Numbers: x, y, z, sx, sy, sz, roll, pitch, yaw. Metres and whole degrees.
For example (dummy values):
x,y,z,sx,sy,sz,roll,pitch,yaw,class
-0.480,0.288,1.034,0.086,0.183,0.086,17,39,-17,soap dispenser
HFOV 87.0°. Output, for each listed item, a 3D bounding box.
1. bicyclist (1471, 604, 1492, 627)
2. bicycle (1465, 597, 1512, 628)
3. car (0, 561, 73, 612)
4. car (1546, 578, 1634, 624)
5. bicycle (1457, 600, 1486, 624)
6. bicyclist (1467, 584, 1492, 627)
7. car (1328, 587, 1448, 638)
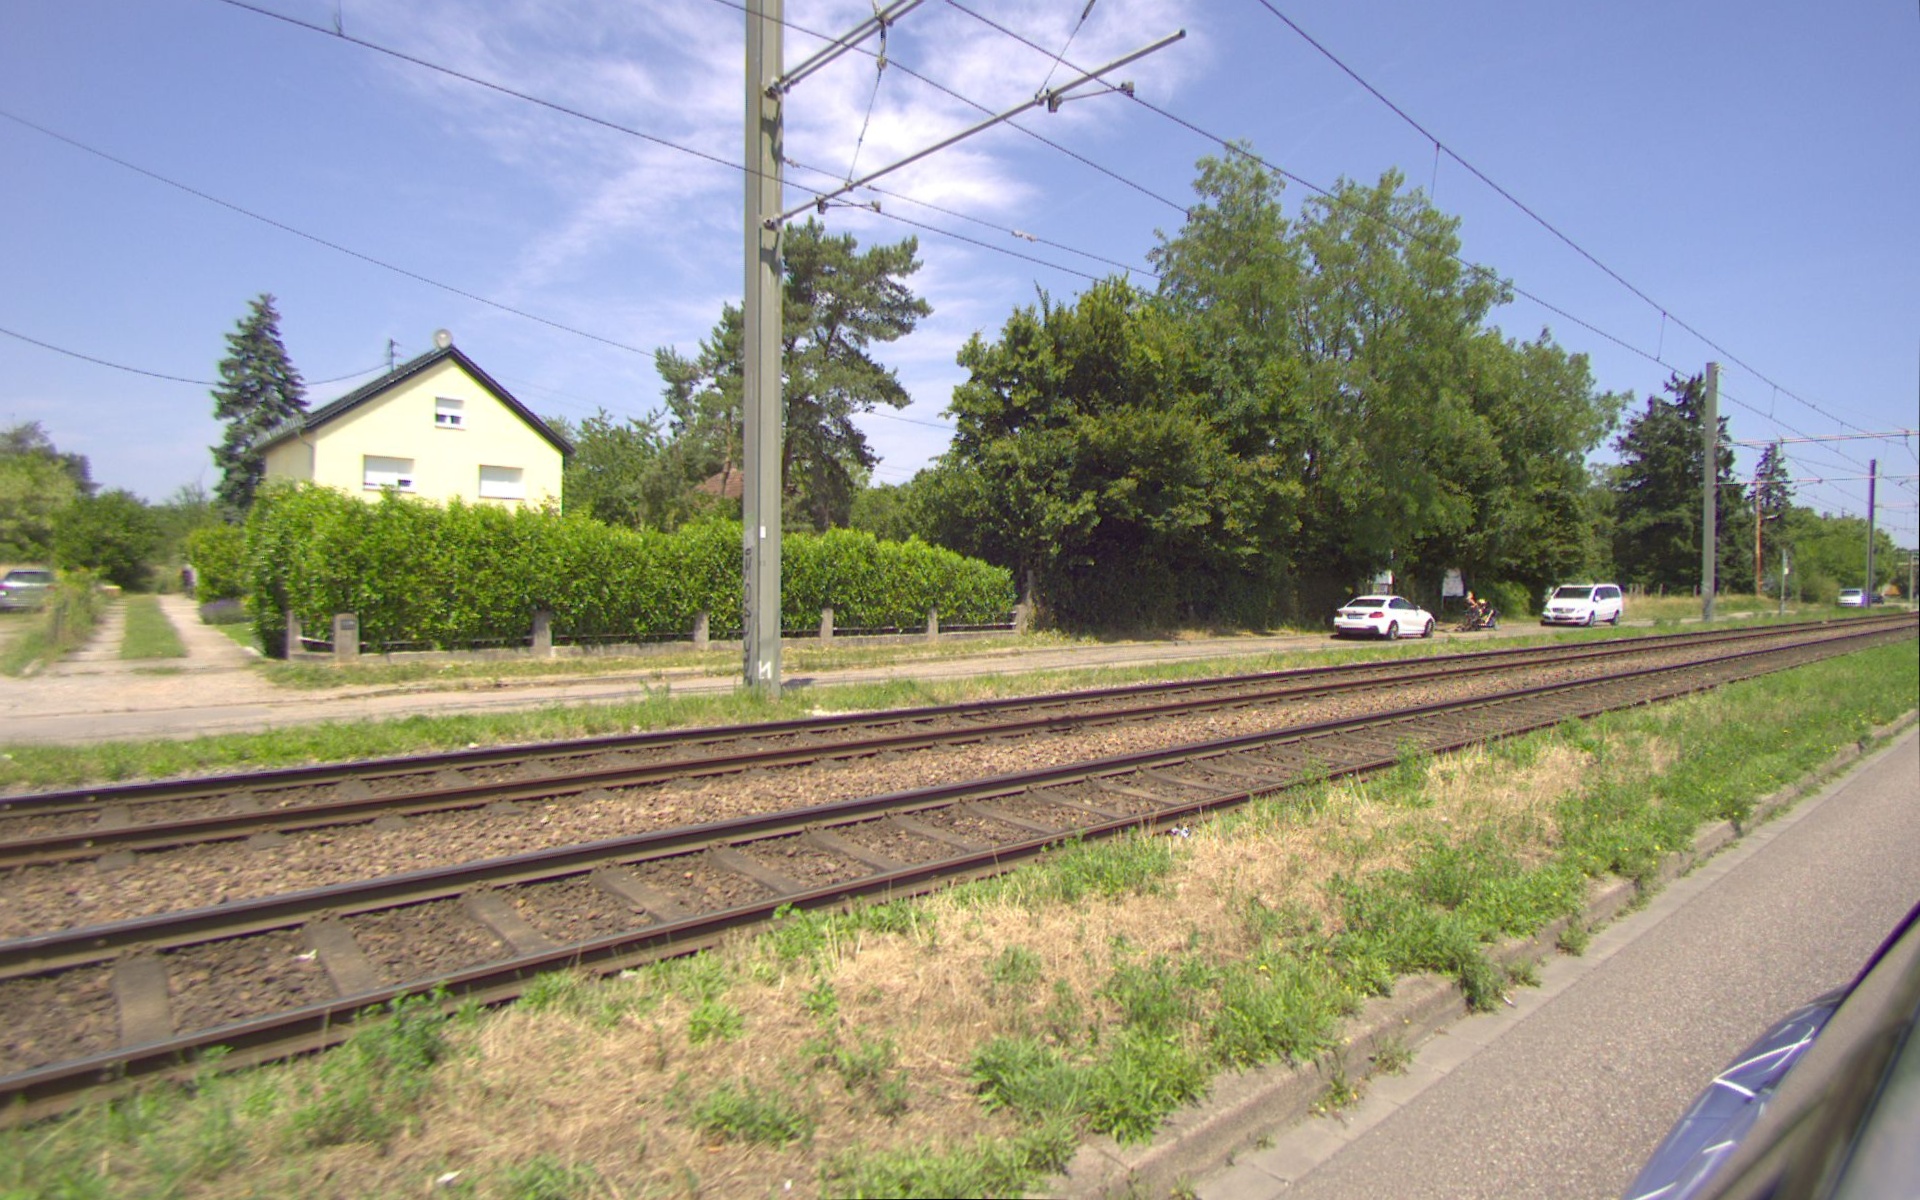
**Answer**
x,y,z,sx,sy,sz,roll,pitch,yaw,class
20.760,0.618,40.304,0.522,0.886,0.751,2,3,44,bicyclist
20.919,0.478,40.047,1.630,1.160,1.147,-1,3,-41,bicycle
-31.378,-0.501,34.309,1.867,1.593,3.995,-1,3,-41,car
28.572,-0.010,45.831,4.928,1.898,1.997,-2,3,-41,car
19.866,0.472,39.325,0.784,0.886,0.750,-1,2,-41,bicycle
20.254,0.206,39.467,0.609,1.608,0.911,2,2,44,bicyclist
14.088,0.357,33.191,4.550,1.467,1.800,-2,3,-41,car
